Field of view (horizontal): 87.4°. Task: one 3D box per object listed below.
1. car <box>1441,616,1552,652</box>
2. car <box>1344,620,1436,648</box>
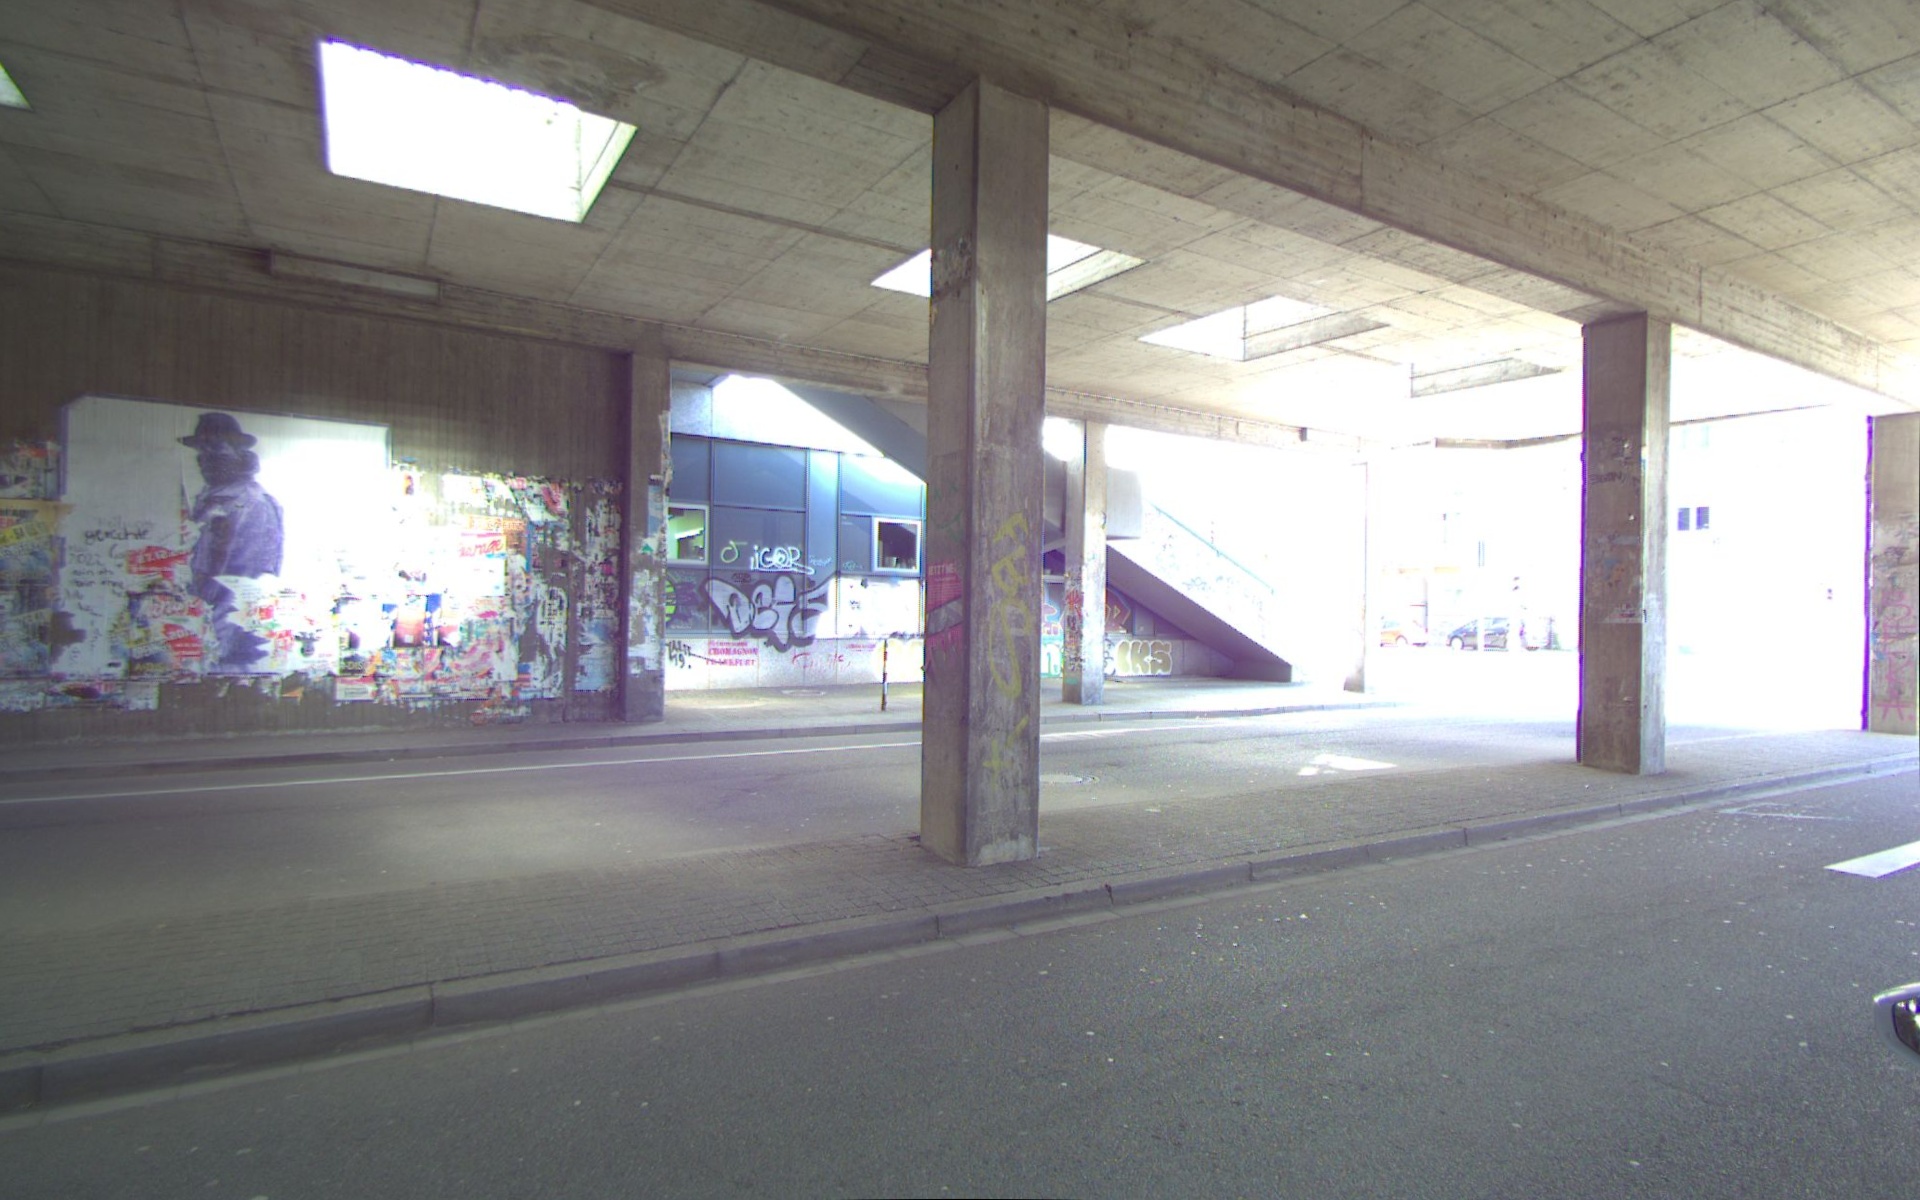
[{"bbox_3d":[25.401,1.581,47.648,2.240,1.571,4.111,1,-1,-29],"label":"car"},{"bbox_3d":[22.480,1.769,52.659,2.163,1.392,3.971,1,-1,-28],"label":"car"}]
